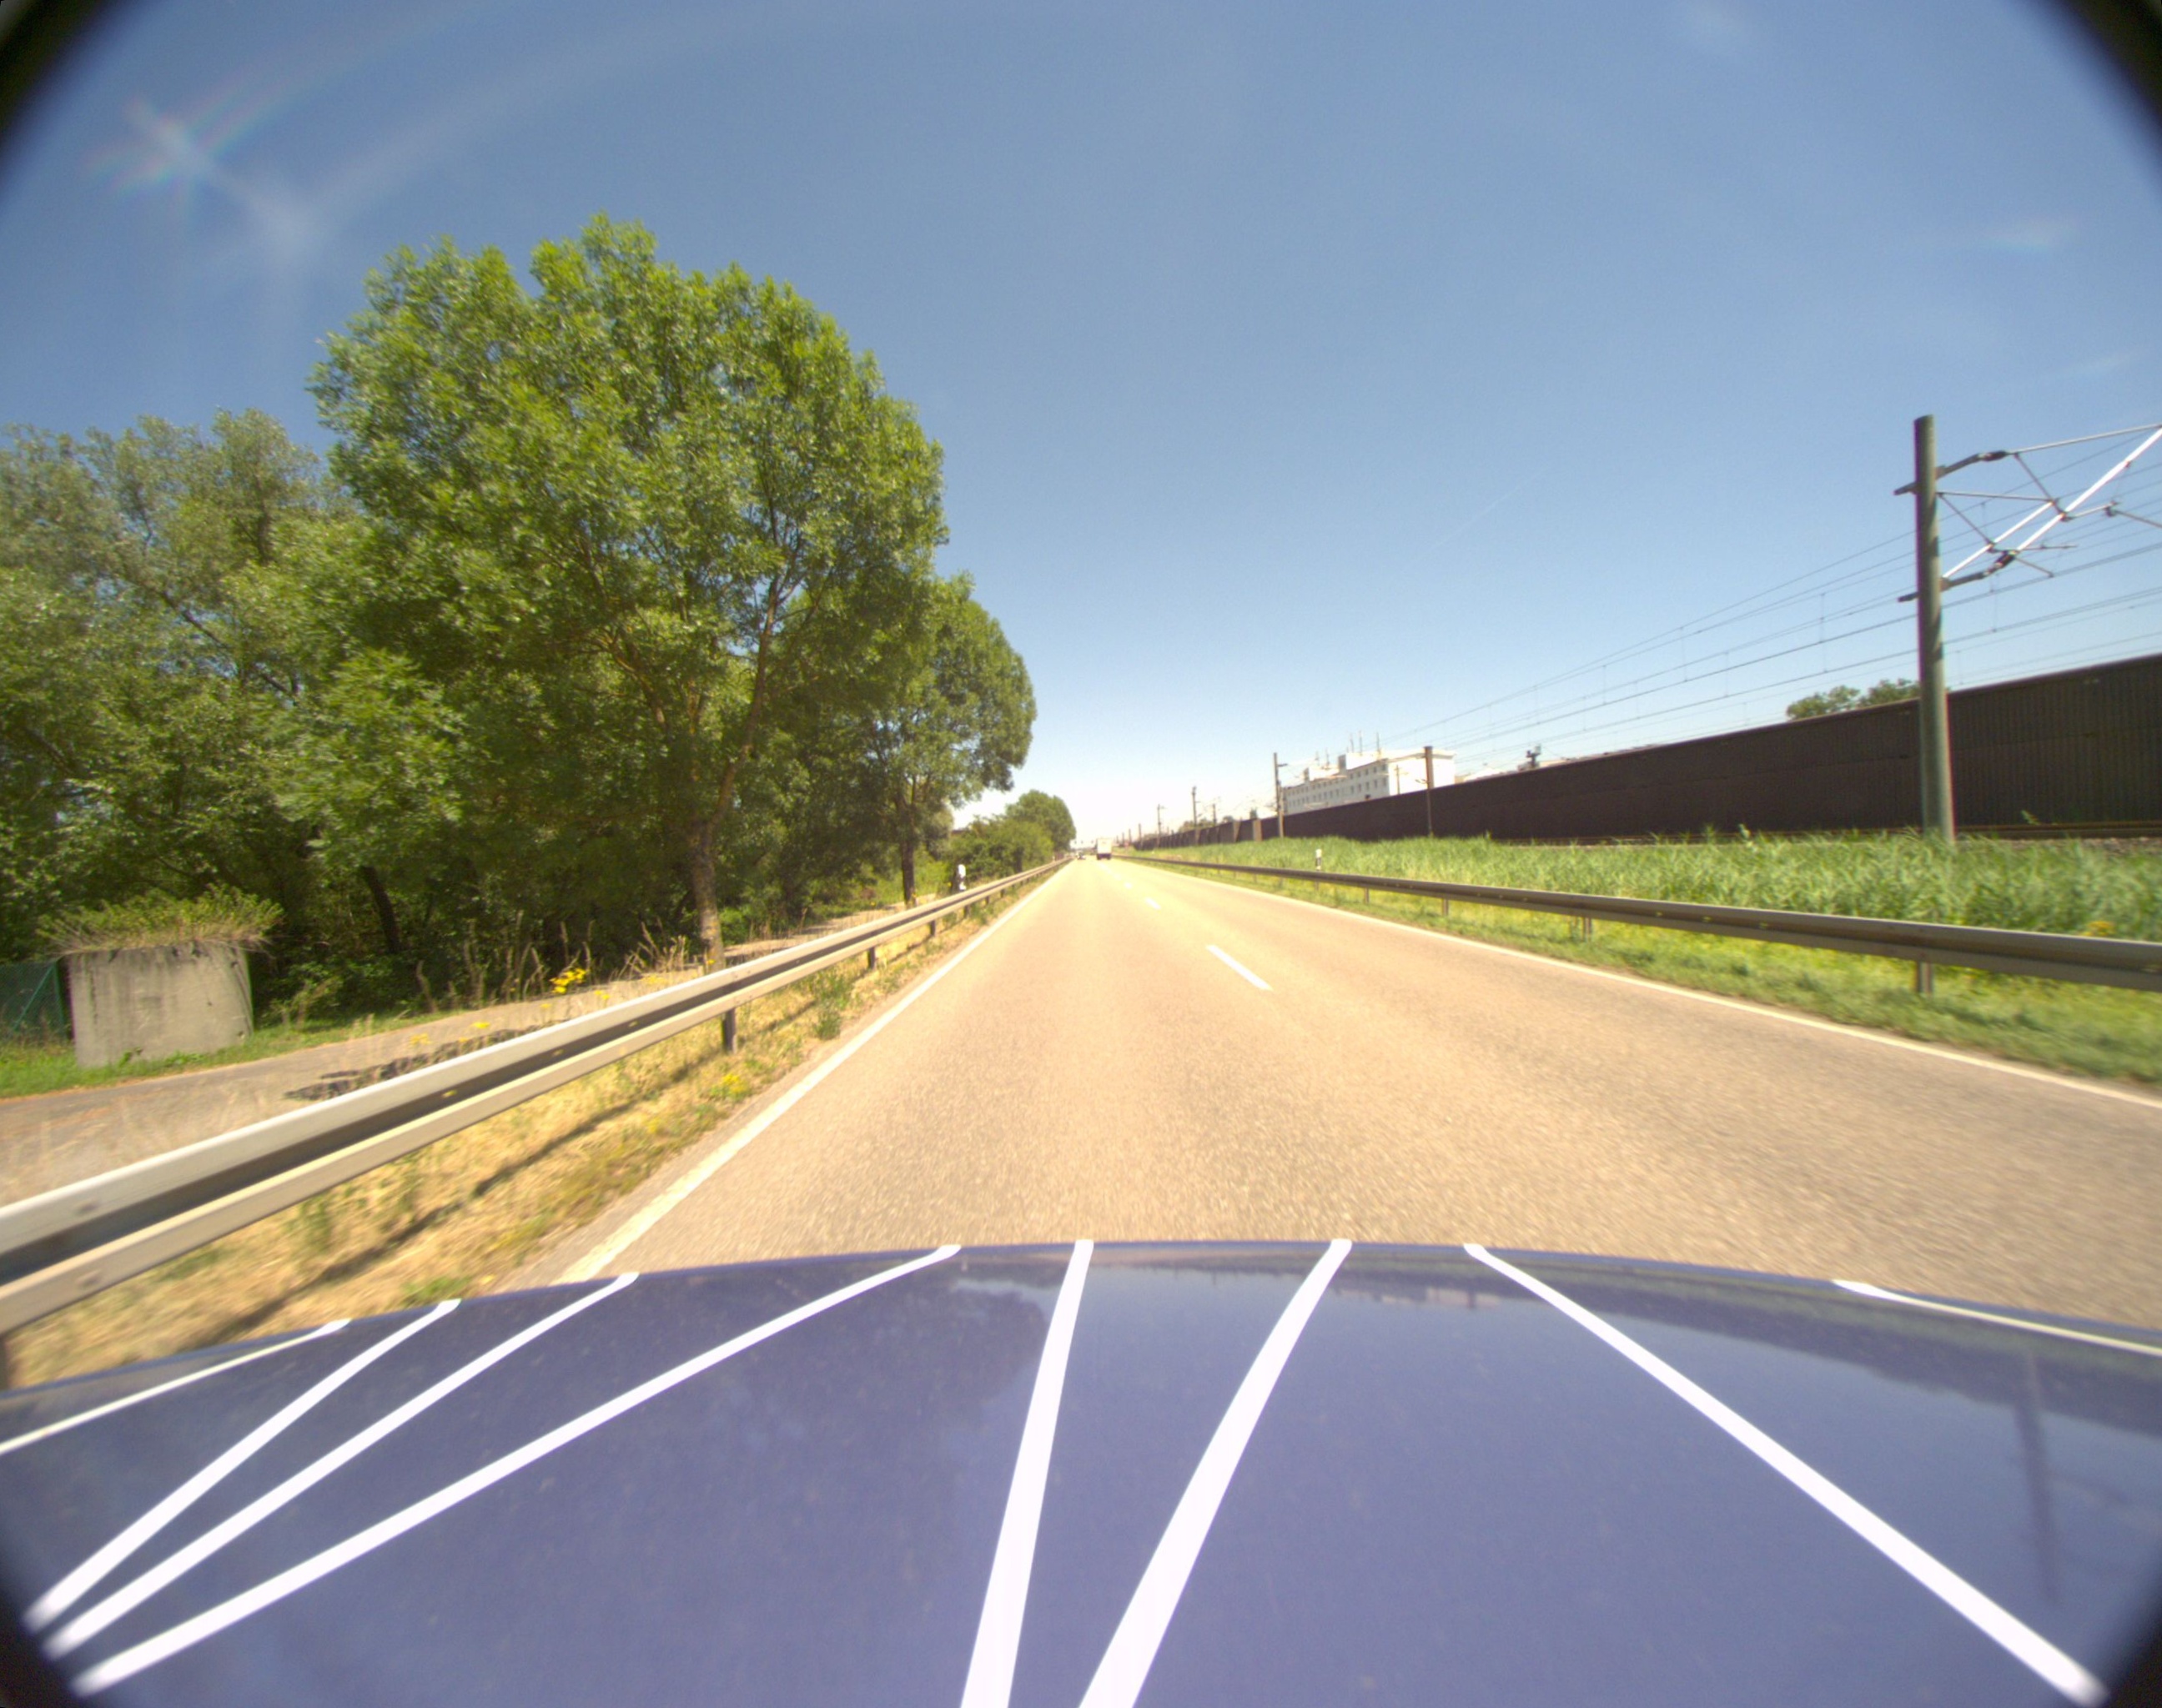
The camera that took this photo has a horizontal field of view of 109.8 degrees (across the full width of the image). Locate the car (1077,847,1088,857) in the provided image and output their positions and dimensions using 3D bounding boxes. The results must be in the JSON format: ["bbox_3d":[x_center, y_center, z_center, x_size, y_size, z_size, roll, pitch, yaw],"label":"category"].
[{"bbox_3d":[0.316,-0.342,162.158,1.999,2.002,3.999,-2,0,-1],"label":"car"}]

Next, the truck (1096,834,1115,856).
[{"bbox_3d":[4.605,-1.673,142.847,2.805,3.955,10.496,-1,1,-2],"label":"truck"}]
